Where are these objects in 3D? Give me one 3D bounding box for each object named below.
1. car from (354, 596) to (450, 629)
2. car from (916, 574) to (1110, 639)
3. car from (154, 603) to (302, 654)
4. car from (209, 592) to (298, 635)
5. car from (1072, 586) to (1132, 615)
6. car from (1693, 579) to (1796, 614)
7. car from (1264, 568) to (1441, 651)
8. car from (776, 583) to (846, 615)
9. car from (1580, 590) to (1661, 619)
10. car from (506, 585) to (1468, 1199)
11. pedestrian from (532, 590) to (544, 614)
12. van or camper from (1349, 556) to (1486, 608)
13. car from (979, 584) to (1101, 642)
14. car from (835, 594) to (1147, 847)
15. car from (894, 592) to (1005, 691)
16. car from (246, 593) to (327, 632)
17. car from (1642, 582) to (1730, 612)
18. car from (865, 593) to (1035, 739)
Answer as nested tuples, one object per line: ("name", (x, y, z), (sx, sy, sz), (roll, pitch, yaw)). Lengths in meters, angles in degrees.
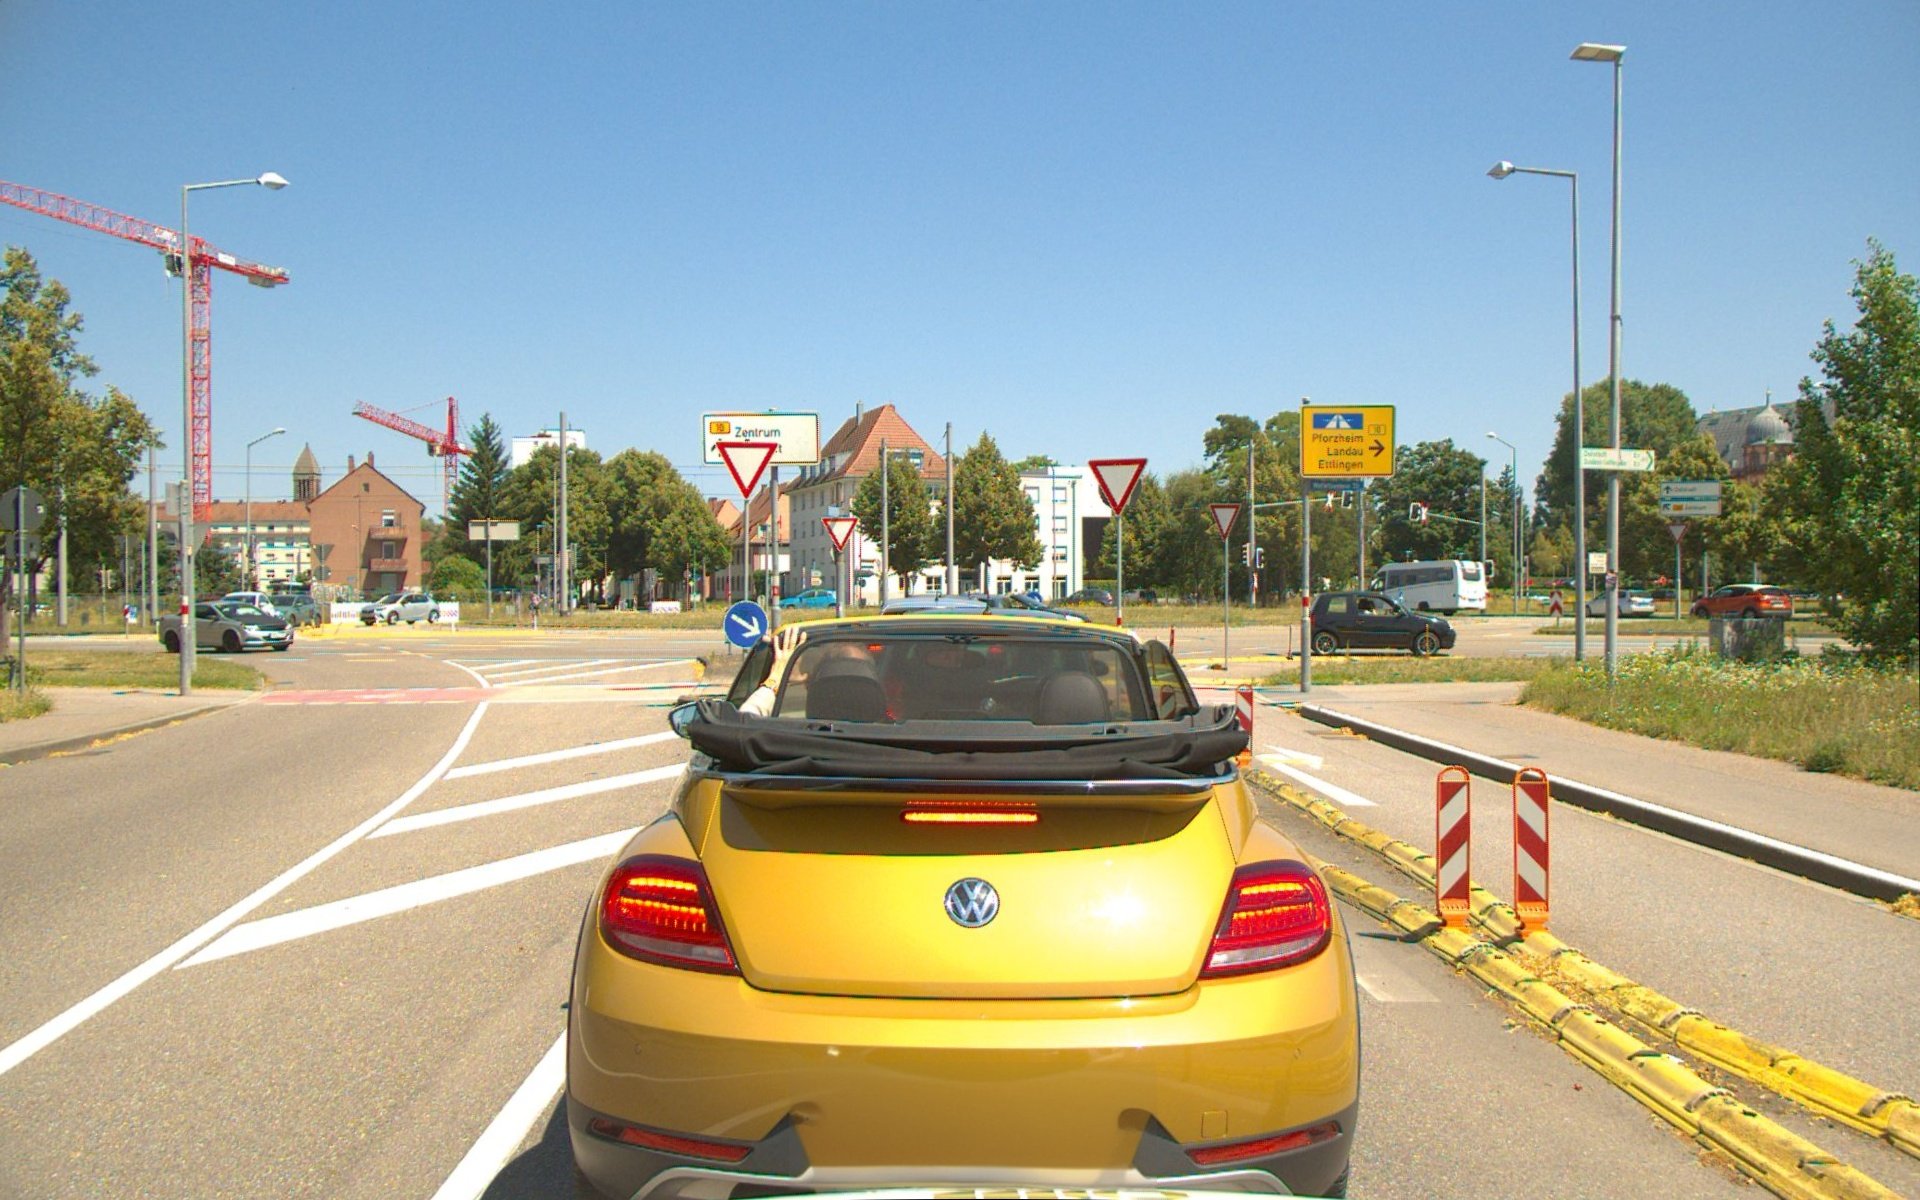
("car", (-26.204, 0.578, 77.822), (1.676, 1.526, 4.210), (0, 0, 32))
("car", (1.437, 0.164, 44.660), (4.835, 1.685, 2.000), (0, 0, 20))
("car", (-20.439, 0.775, 46.144), (4.189, 1.339, 1.817), (0, 0, 34))
("car", (-27.123, 0.511, 63.633), (1.720, 1.576, 3.999), (0, 0, -1))
("car", (8.227, 0.044, 96.017), (3.157, 1.634, 1.648), (0, 0, -8))
("car", (30.849, -0.144, 65.181), (1.623, 1.323, 3.780), (0, 0, -15))
("car", (9.077, 0.205, 38.554), (3.902, 1.847, 2.002), (0, 0, 10))
("car", (-9.020, -0.054, 99.996), (3.920, 1.870, 1.992), (0, 0, -15))
("car", (33.581, 0.235, 84.175), (1.628, 1.449, 3.766), (0, 0, -24))
("car", (0.021, 0.700, 4.846), (1.717, 1.447, 3.776), (0, 0, -1))
("pedestrian", (-28.194, 0.145, 110.495), (0.488, 1.590, 0.590), (-1, 0, 33))
("van or camper", (25.157, -0.976, 91.199), (2.485, 2.741, 7.418), (0, 0, -35))
("car", (2.638, 0.424, 54.969), (3.906, 1.847, 1.999), (0, 0, -2))
("car", (0.158, 0.703, 11.662), (1.810, 1.467, 3.999), (0, 0, -1))
("car", (-0.185, 0.638, 27.471), (1.701, 1.503, 3.999), (0, 0, -1))
("car", (-27.756, 0.504, 68.274), (1.720, 1.576, 3.999), (0, 0, -1))
("car", (32.384, -0.140, 73.850), (1.623, 1.323, 3.780), (0, 0, -15))
("car", (-0.128, 0.663, 18.671), (1.701, 1.467, 3.999), (0, 0, -1))
